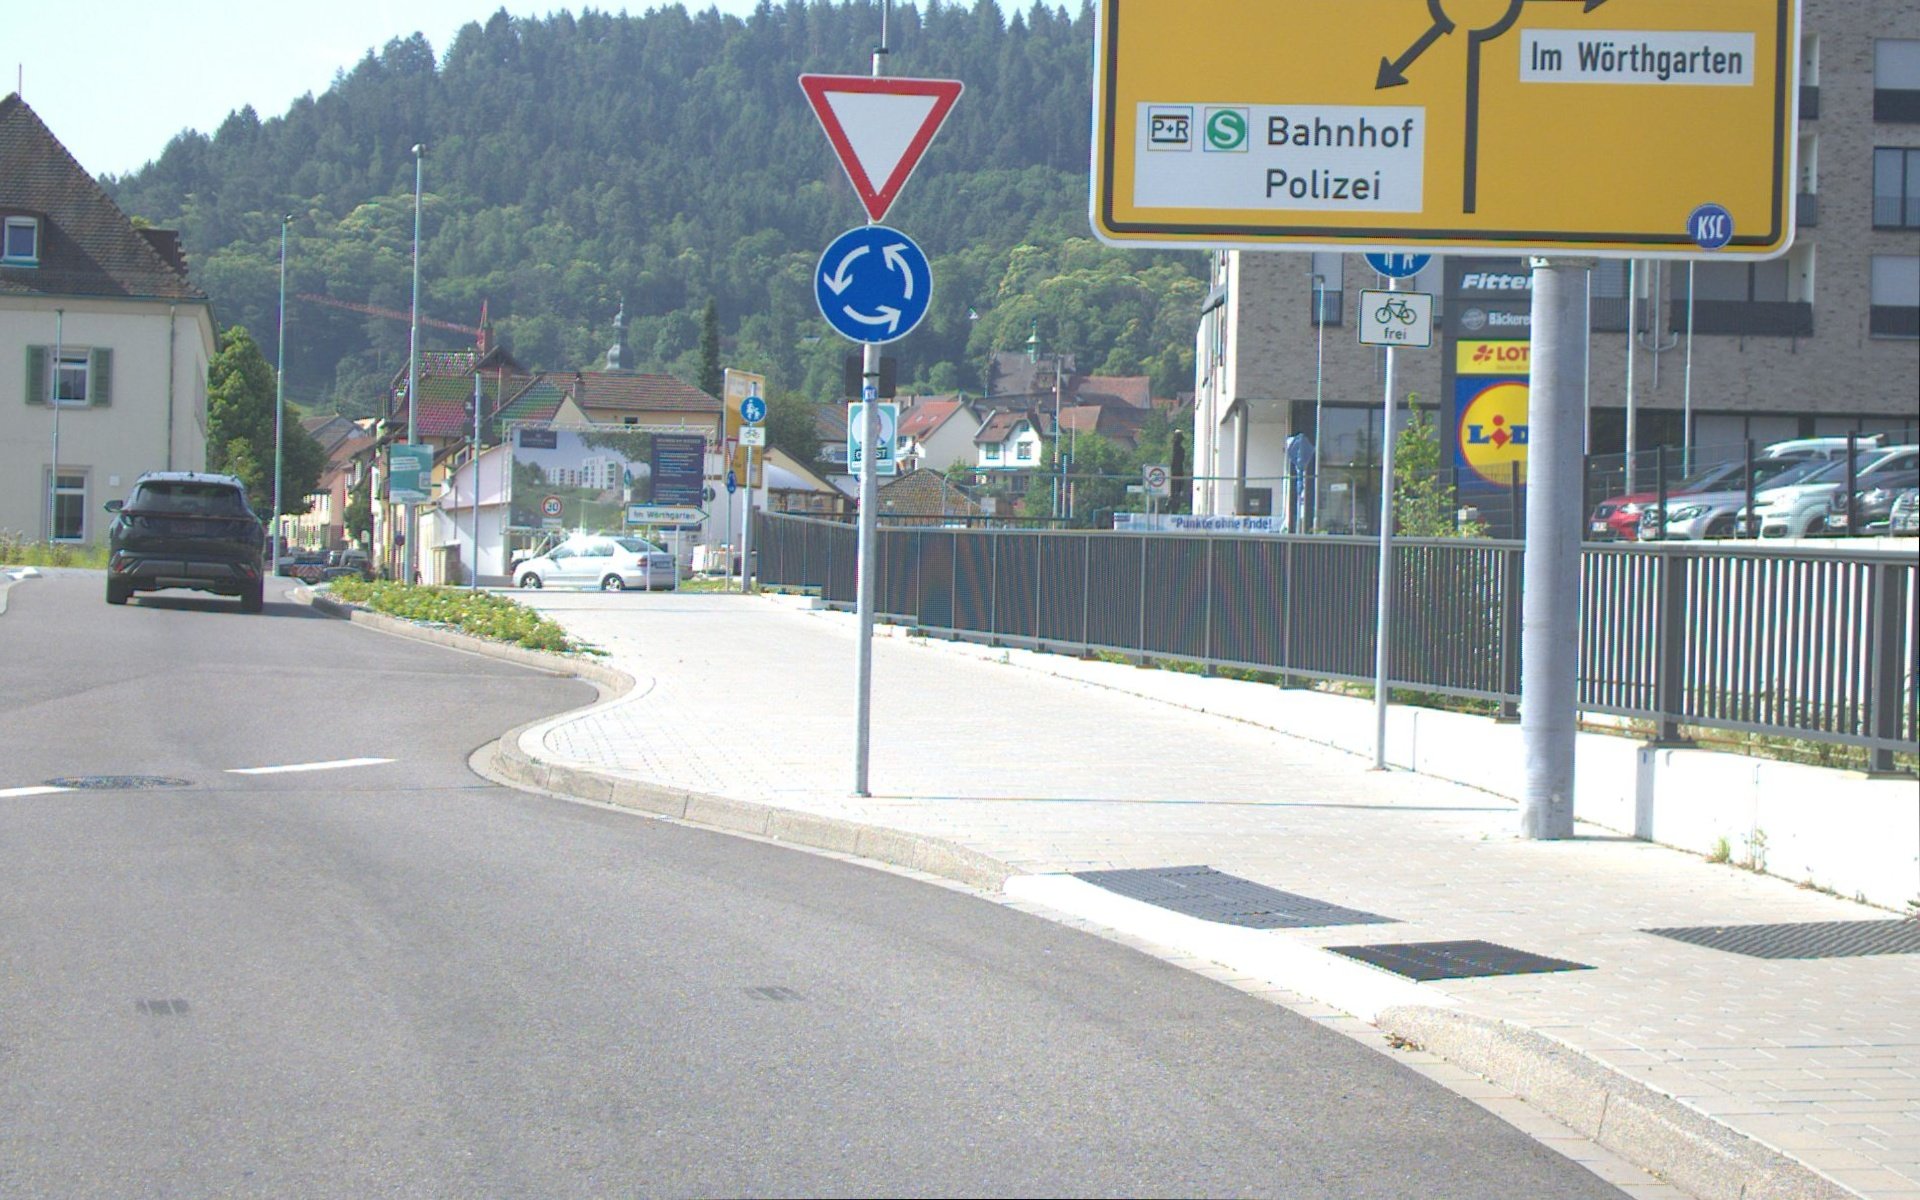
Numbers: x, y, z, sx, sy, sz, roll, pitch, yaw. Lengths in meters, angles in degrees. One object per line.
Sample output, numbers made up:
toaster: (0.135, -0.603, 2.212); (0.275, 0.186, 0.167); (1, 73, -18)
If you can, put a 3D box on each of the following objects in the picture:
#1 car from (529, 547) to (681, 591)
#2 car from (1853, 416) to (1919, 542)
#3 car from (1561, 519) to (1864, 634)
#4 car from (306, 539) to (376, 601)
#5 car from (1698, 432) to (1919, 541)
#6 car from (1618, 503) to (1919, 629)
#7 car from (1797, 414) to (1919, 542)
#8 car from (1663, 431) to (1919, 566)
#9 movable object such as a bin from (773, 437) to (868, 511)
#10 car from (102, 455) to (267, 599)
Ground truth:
car: (-8.101, -0.702, 78.332); (3.274, 0.961, 1.348); (1, 0, 31)
car: (11.522, -1.174, 35.177); (4.277, 1.241, 1.665); (1, 1, -11)
car: (10.093, -0.328, 46.243); (3.554, 1.425, 1.711); (1, 1, -11)
car: (-20.606, -0.979, 114.353); (1.993, 2.007, 4.001); (1, 0, -14)
car: (10.808, -1.323, 40.883); (3.554, 1.195, 1.715); (1, 1, -11)
car: (10.610, -0.430, 43.639); (4.055, 1.482, 1.717); (1, 1, -8)
car: (11.487, -1.288, 37.858); (4.035, 1.338, 1.660); (1, 1, -11)
car: (13.609, -1.652, 56.432); (3.989, 2.128, 1.999); (1, 0, 10)
movable object such as a bin: (-3.647, -3.293, 90.011); (2.443, 1.837, 1.428); (1, 0, -2)
car: (-9.613, -0.876, 42.791); (1.880, 1.678, 4.001); (1, 0, -12)
